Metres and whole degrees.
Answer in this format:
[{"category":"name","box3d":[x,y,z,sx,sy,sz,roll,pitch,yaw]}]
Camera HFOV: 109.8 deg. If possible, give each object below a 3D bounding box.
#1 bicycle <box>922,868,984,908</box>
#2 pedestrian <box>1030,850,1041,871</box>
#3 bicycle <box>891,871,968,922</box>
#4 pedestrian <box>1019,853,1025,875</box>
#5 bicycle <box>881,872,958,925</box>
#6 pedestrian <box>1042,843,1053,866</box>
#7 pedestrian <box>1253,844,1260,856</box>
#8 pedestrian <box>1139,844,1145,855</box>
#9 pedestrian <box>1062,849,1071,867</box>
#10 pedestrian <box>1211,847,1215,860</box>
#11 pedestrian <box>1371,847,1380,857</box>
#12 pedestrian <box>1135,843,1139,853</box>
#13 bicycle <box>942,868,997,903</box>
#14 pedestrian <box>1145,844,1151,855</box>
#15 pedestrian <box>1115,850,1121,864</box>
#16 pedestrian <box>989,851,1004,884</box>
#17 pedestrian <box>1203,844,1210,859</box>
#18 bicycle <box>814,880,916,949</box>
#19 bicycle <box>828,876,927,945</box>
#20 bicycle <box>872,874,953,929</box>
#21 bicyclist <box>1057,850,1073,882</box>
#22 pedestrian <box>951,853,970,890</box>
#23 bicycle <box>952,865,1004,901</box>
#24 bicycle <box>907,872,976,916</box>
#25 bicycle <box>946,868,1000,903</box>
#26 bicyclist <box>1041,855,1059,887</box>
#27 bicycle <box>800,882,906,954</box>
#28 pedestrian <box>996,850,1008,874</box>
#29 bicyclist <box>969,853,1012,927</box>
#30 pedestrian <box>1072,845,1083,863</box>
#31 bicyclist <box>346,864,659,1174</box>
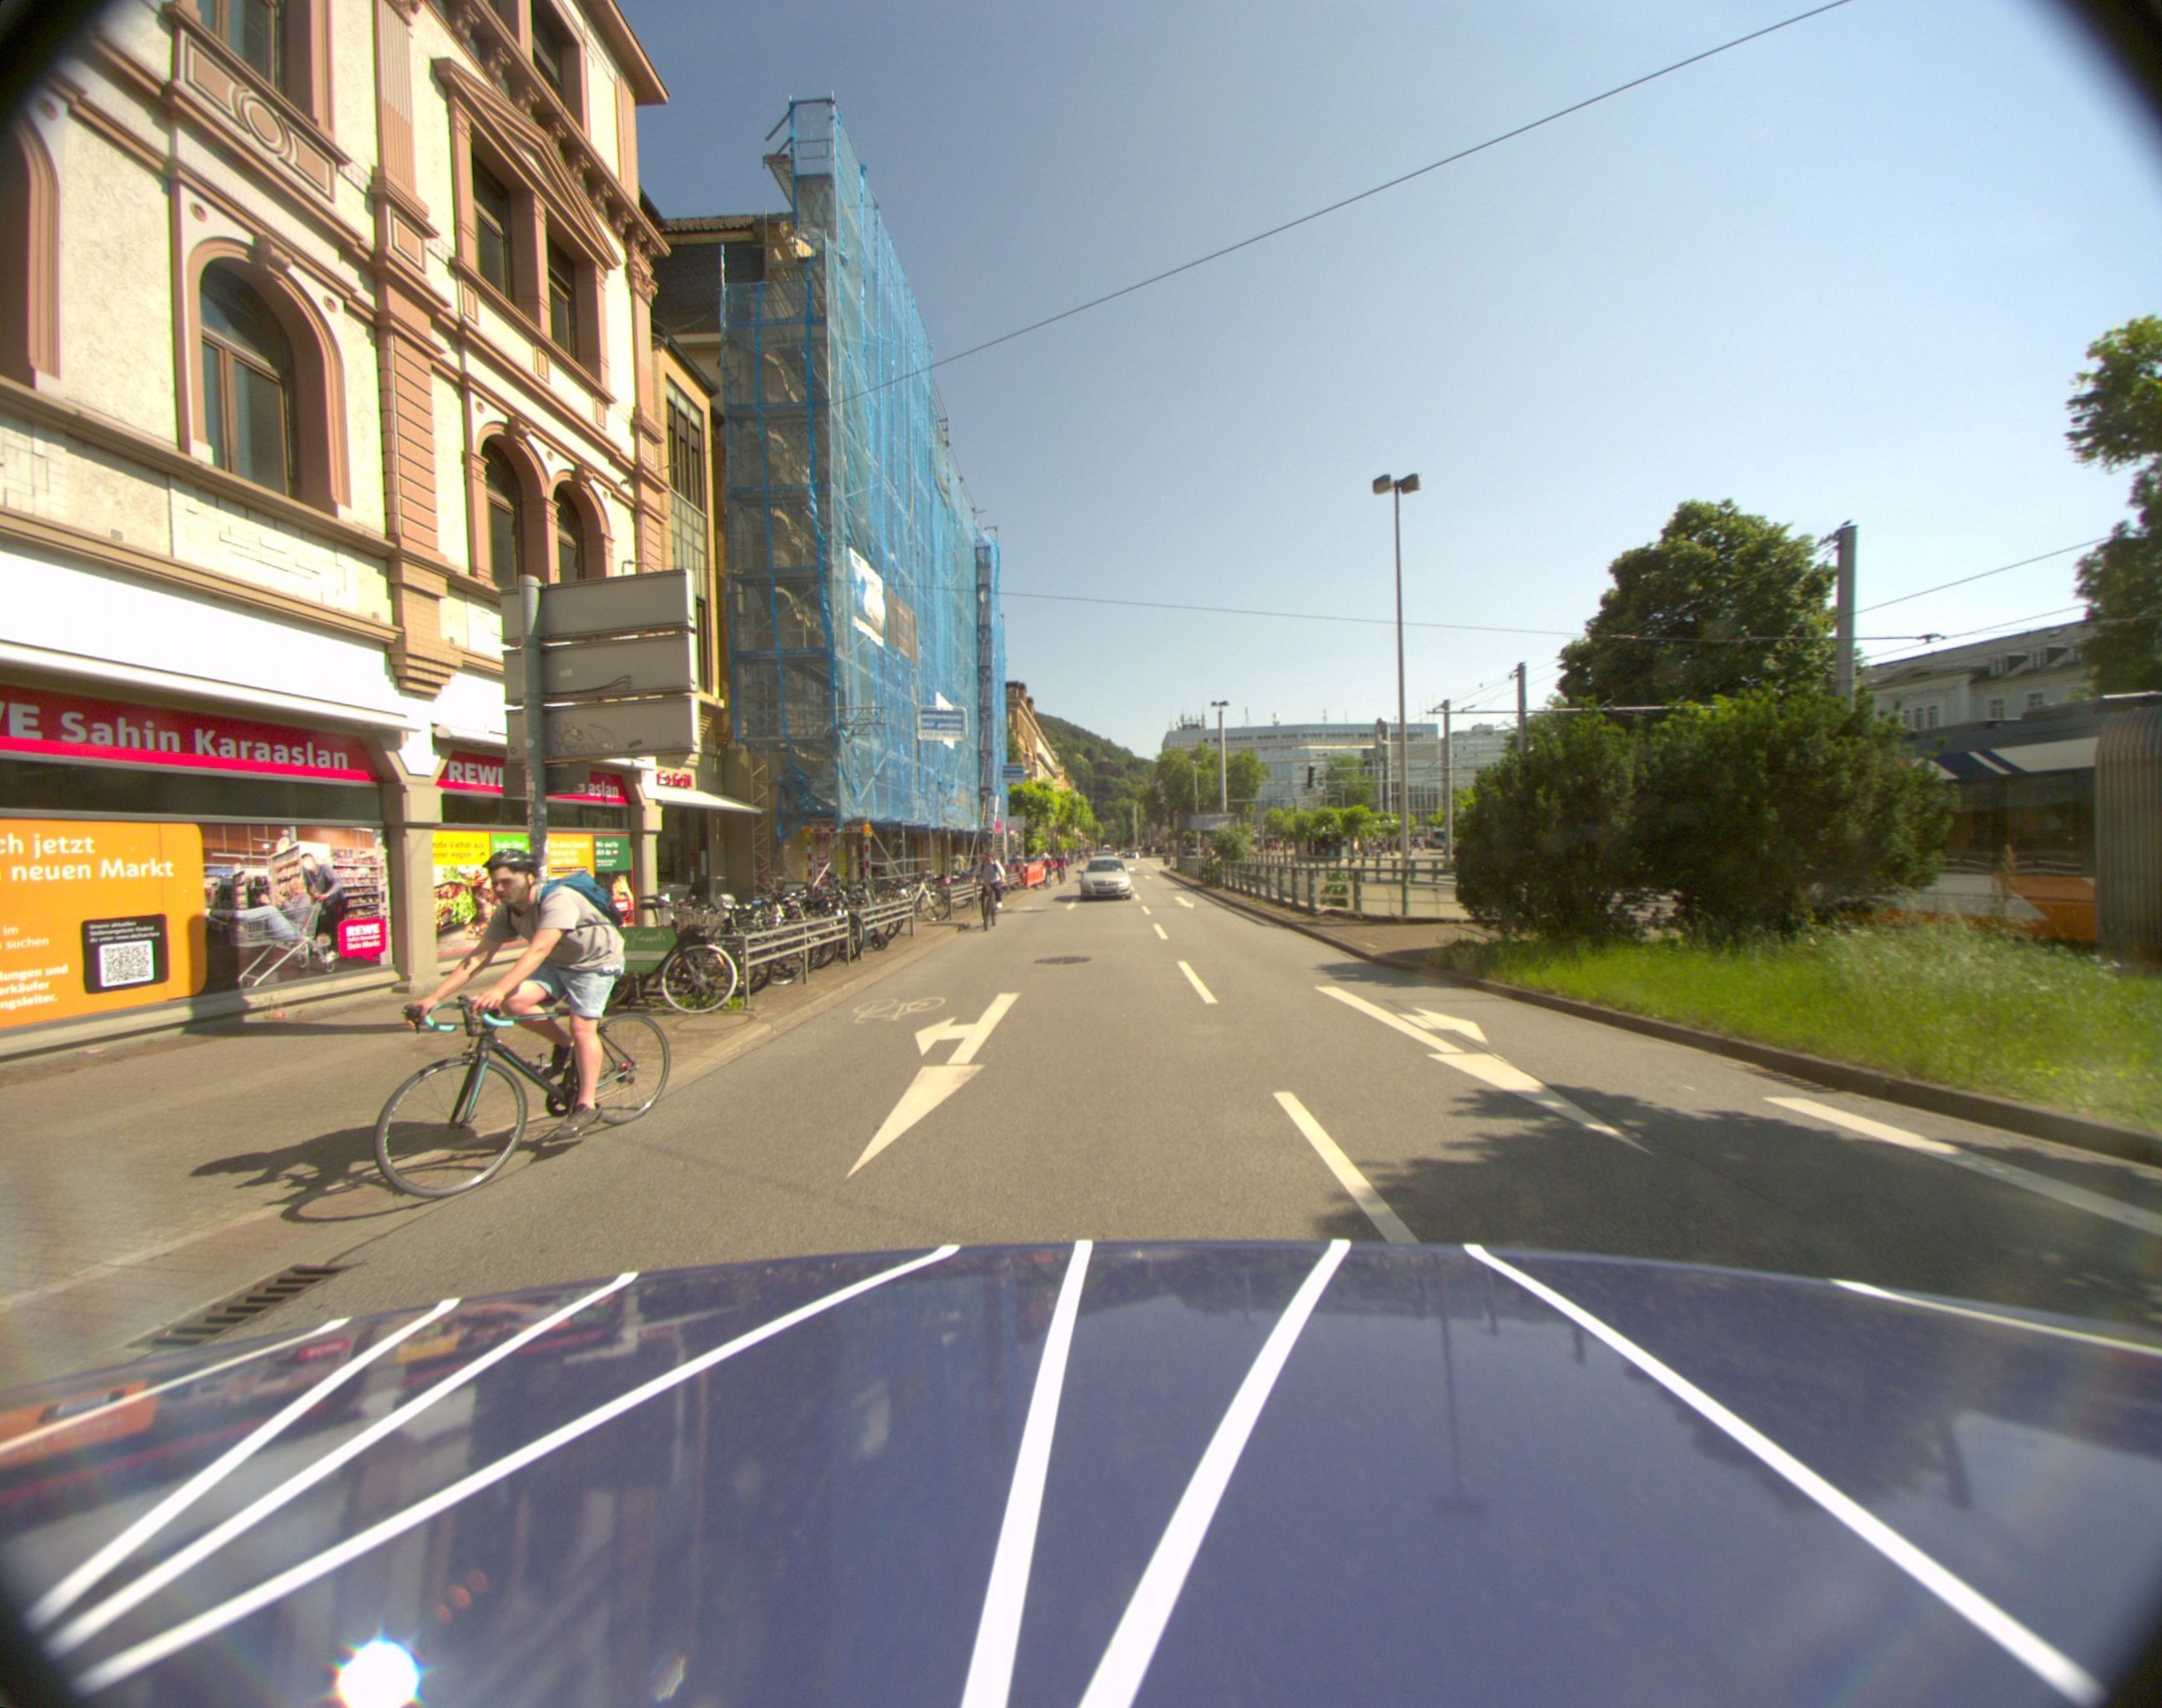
[{"category":"bicycle","box3d":[-3.963,1.060,23.619,1.743,1.103,0.608,-3,2,3]},{"category":"pedestrian","box3d":[-3.979,0.543,66.556,0.816,1.838,0.892,0,2,10]},{"category":"bicycle","box3d":[-3.861,1.089,19.460,1.775,1.172,0.608,-3,2,3]},{"category":"pedestrian","box3d":[-4.501,0.746,57.710,0.381,1.673,0.477,-1,2,3]},{"category":"bicycle","box3d":[-3.946,1.091,18.637,1.697,1.172,0.608,-3,2,3]},{"category":"pedestrian","box3d":[-2.573,0.020,58.097,0.658,1.674,0.652,-3,3,-12]},{"category":"pedestrian","box3d":[22.717,-0.519,98.213,0.625,1.457,0.552,0,1,-20]},{"category":"pedestrian","box3d":[10.601,-0.783,132.339,0.876,1.737,0.733,-4,2,1]},{"category":"pedestrian","box3d":[-1.275,0.369,68.994,0.697,1.617,0.701,-1,2,-10]},{"category":"pedestrian","box3d":[15.913,-0.056,91.589,0.525,1.600,0.627,1,1,12]},{"category":"pedestrian","box3d":[28.327,-0.214,72.995,0.635,0.995,0.580,0,1,5]},{"category":"pedestrian","box3d":[10.153,-1.092,137.518,0.639,1.737,0.733,-4,2,1]},{"category":"bicycle","box3d":[-3.763,1.060,25.733,1.697,1.091,0.608,-3,2,3]},{"category":"pedestrian","box3d":[10.999,-0.737,125.444,0.537,1.773,0.744,-3,2,37]},{"category":"pedestrian","box3d":[4.977,0.383,101.576,0.699,1.775,0.578,-1,2,-3]},{"category":"pedestrian","box3d":[-4.698,0.730,42.229,0.641,1.766,0.649,-4,2,2]},{"category":"pedestrian","box3d":[15.159,-0.304,91.715,0.527,1.724,0.586,0,1,-28]},{"category":"bicycle","box3d":[-4.053,1.132,14.289,1.697,1.172,0.497,-3,2,3]},{"category":"bicycle","box3d":[-3.990,1.100,14.948,1.697,1.234,0.608,-3,2,3]},{"category":"bicycle","box3d":[-3.957,1.109,17.912,1.697,1.172,0.608,-3,2,3]},{"category":"bicyclist","box3d":[-0.827,0.607,38.861,0.690,1.568,0.778,-4,2,-1]},{"category":"pedestrian","box3d":[-5.394,0.762,33.991,0.645,1.592,0.765,-4,2,-4]},{"category":"bicycle","box3d":[-3.698,1.046,27.284,1.697,1.172,0.608,-3,2,3]},{"category":"bicycle","box3d":[-3.826,1.098,20.911,1.697,1.081,0.608,-3,2,3]},{"category":"bicycle","box3d":[-3.755,1.089,26.452,1.697,1.091,0.608,-3,2,3]},{"category":"bicyclist","box3d":[-1.398,0.753,34.852,0.690,1.388,0.778,-4,2,1]},{"category":"bicycle","box3d":[-4.118,1.150,13.748,1.697,1.172,0.490,-3,2,3]},{"category":"pedestrian","box3d":[-5.906,0.580,56.723,0.669,1.771,0.985,-1,2,7]},{"category":"bicyclist","box3d":[-2.025,0.799,17.148,0.750,1.568,0.778,-4,2,2]},{"category":"pedestrian","box3d":[-0.355,-0.001,83.759,0.896,1.996,0.678,-2,1,-41]},{"category":"bicyclist","box3d":[-3.151,0.830,4.283,0.689,1.454,1.143,-4,2,9]}]
